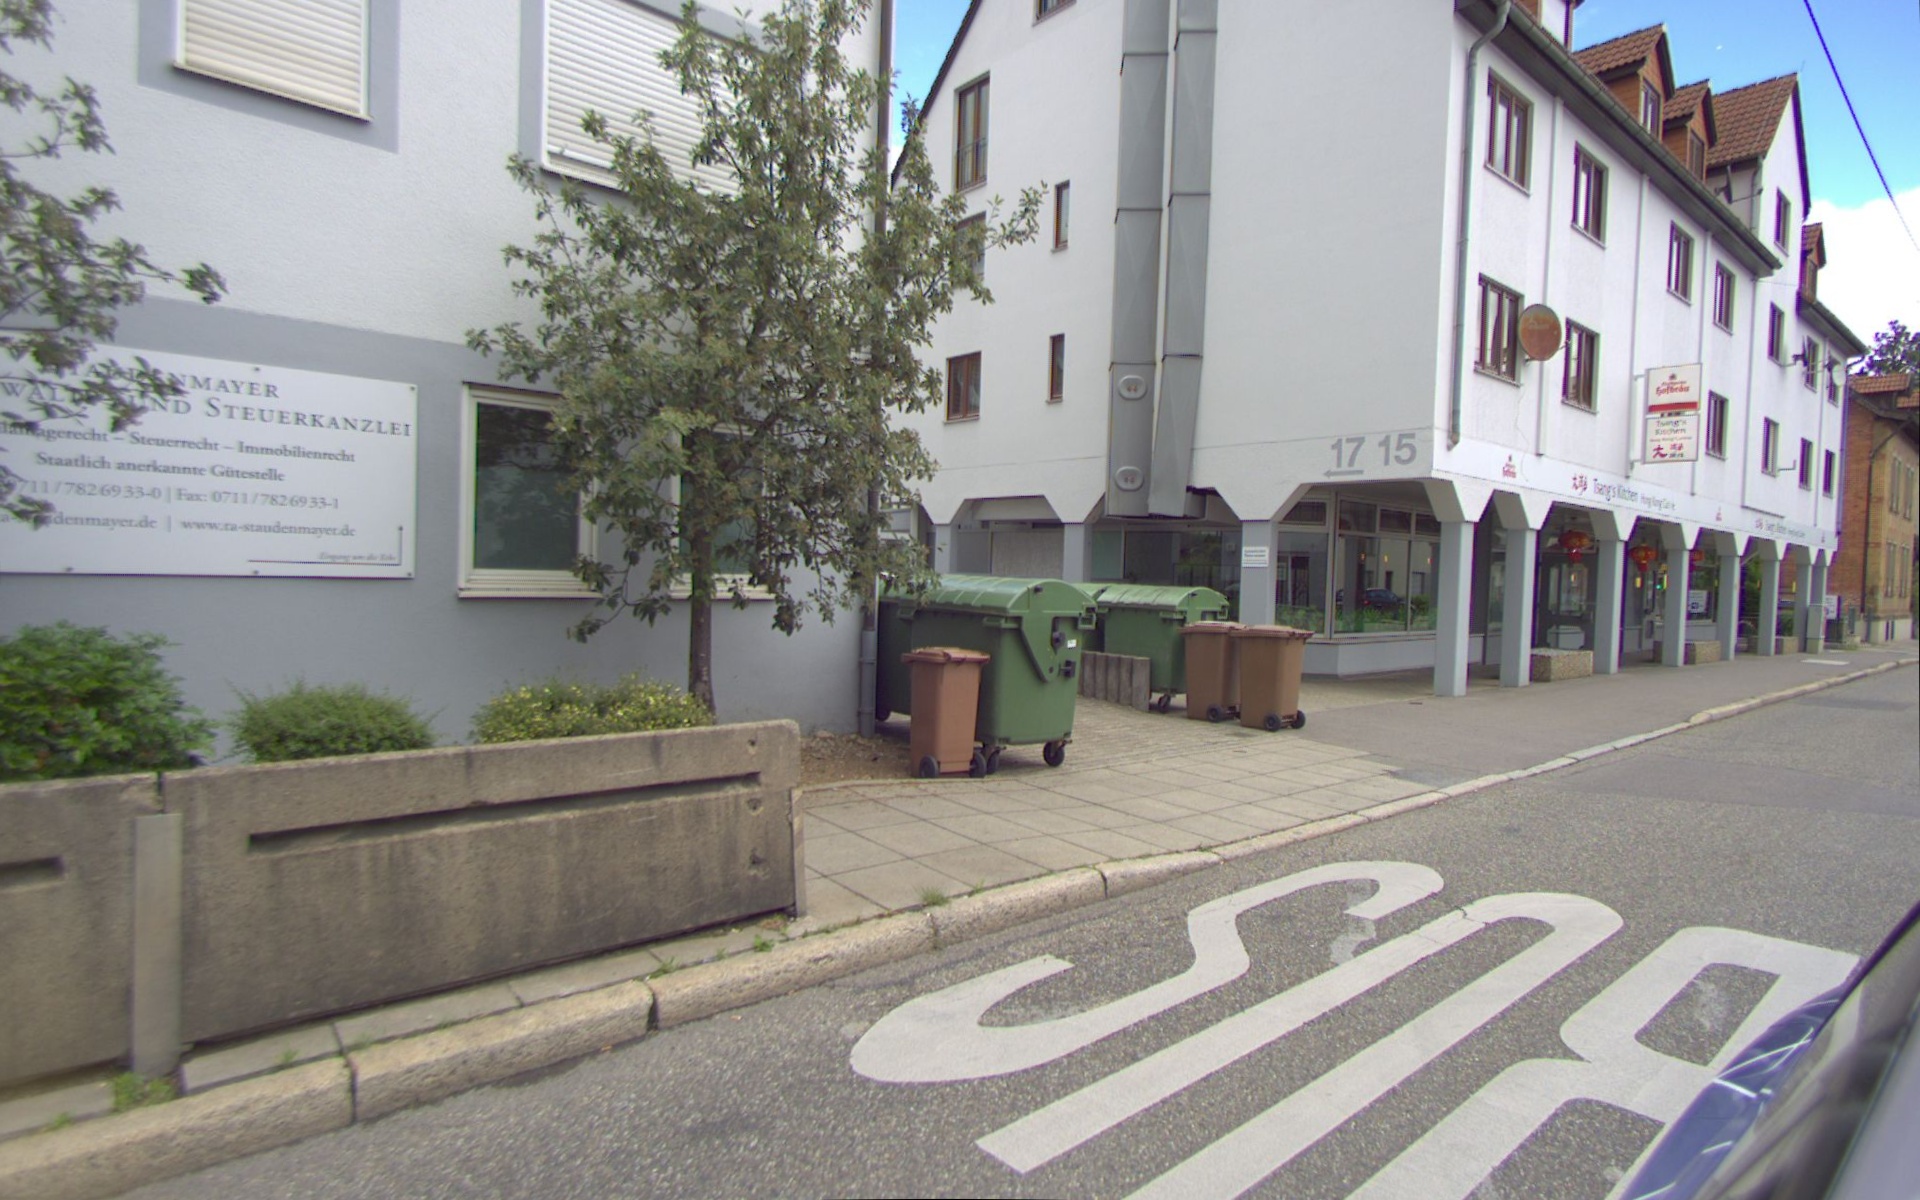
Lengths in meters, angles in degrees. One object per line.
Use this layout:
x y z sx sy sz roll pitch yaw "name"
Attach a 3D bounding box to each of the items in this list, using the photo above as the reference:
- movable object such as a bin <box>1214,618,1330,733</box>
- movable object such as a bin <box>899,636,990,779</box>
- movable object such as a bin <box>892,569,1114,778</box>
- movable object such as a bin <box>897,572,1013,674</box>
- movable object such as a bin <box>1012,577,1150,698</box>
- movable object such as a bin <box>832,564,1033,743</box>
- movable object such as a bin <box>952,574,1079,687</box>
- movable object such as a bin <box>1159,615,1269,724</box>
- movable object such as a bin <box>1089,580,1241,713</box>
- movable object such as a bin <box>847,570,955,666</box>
3.221 0.745 10.459 0.953 1.080 0.685 1 2 -37 "movable object such as a bin"
-0.112 0.743 7.195 0.457 0.932 0.431 1 2 -41 "movable object such as a bin"
0.324 0.502 7.924 1.142 1.434 1.270 1 2 -40 "movable object such as a bin"
-0.080 0.319 15.315 1.236 1.434 1.213 1 2 -37 "movable object such as a bin"
1.553 0.447 13.043 1.236 1.434 1.213 1 2 -37 "movable object such as a bin"
-0.259 0.425 9.216 1.284 1.452 1.270 1 2 -41 "movable object such as a bin"
0.763 0.393 14.025 1.236 1.434 1.213 1 2 -37 "movable object such as a bin"
2.770 0.725 11.036 0.953 1.092 0.700 1 2 -37 "movable object such as a bin"
2.420 0.509 11.988 1.236 1.434 1.213 1 2 -37 "movable object such as a bin"
-0.958 0.266 16.219 1.236 1.434 1.213 1 2 -37 "movable object such as a bin"
